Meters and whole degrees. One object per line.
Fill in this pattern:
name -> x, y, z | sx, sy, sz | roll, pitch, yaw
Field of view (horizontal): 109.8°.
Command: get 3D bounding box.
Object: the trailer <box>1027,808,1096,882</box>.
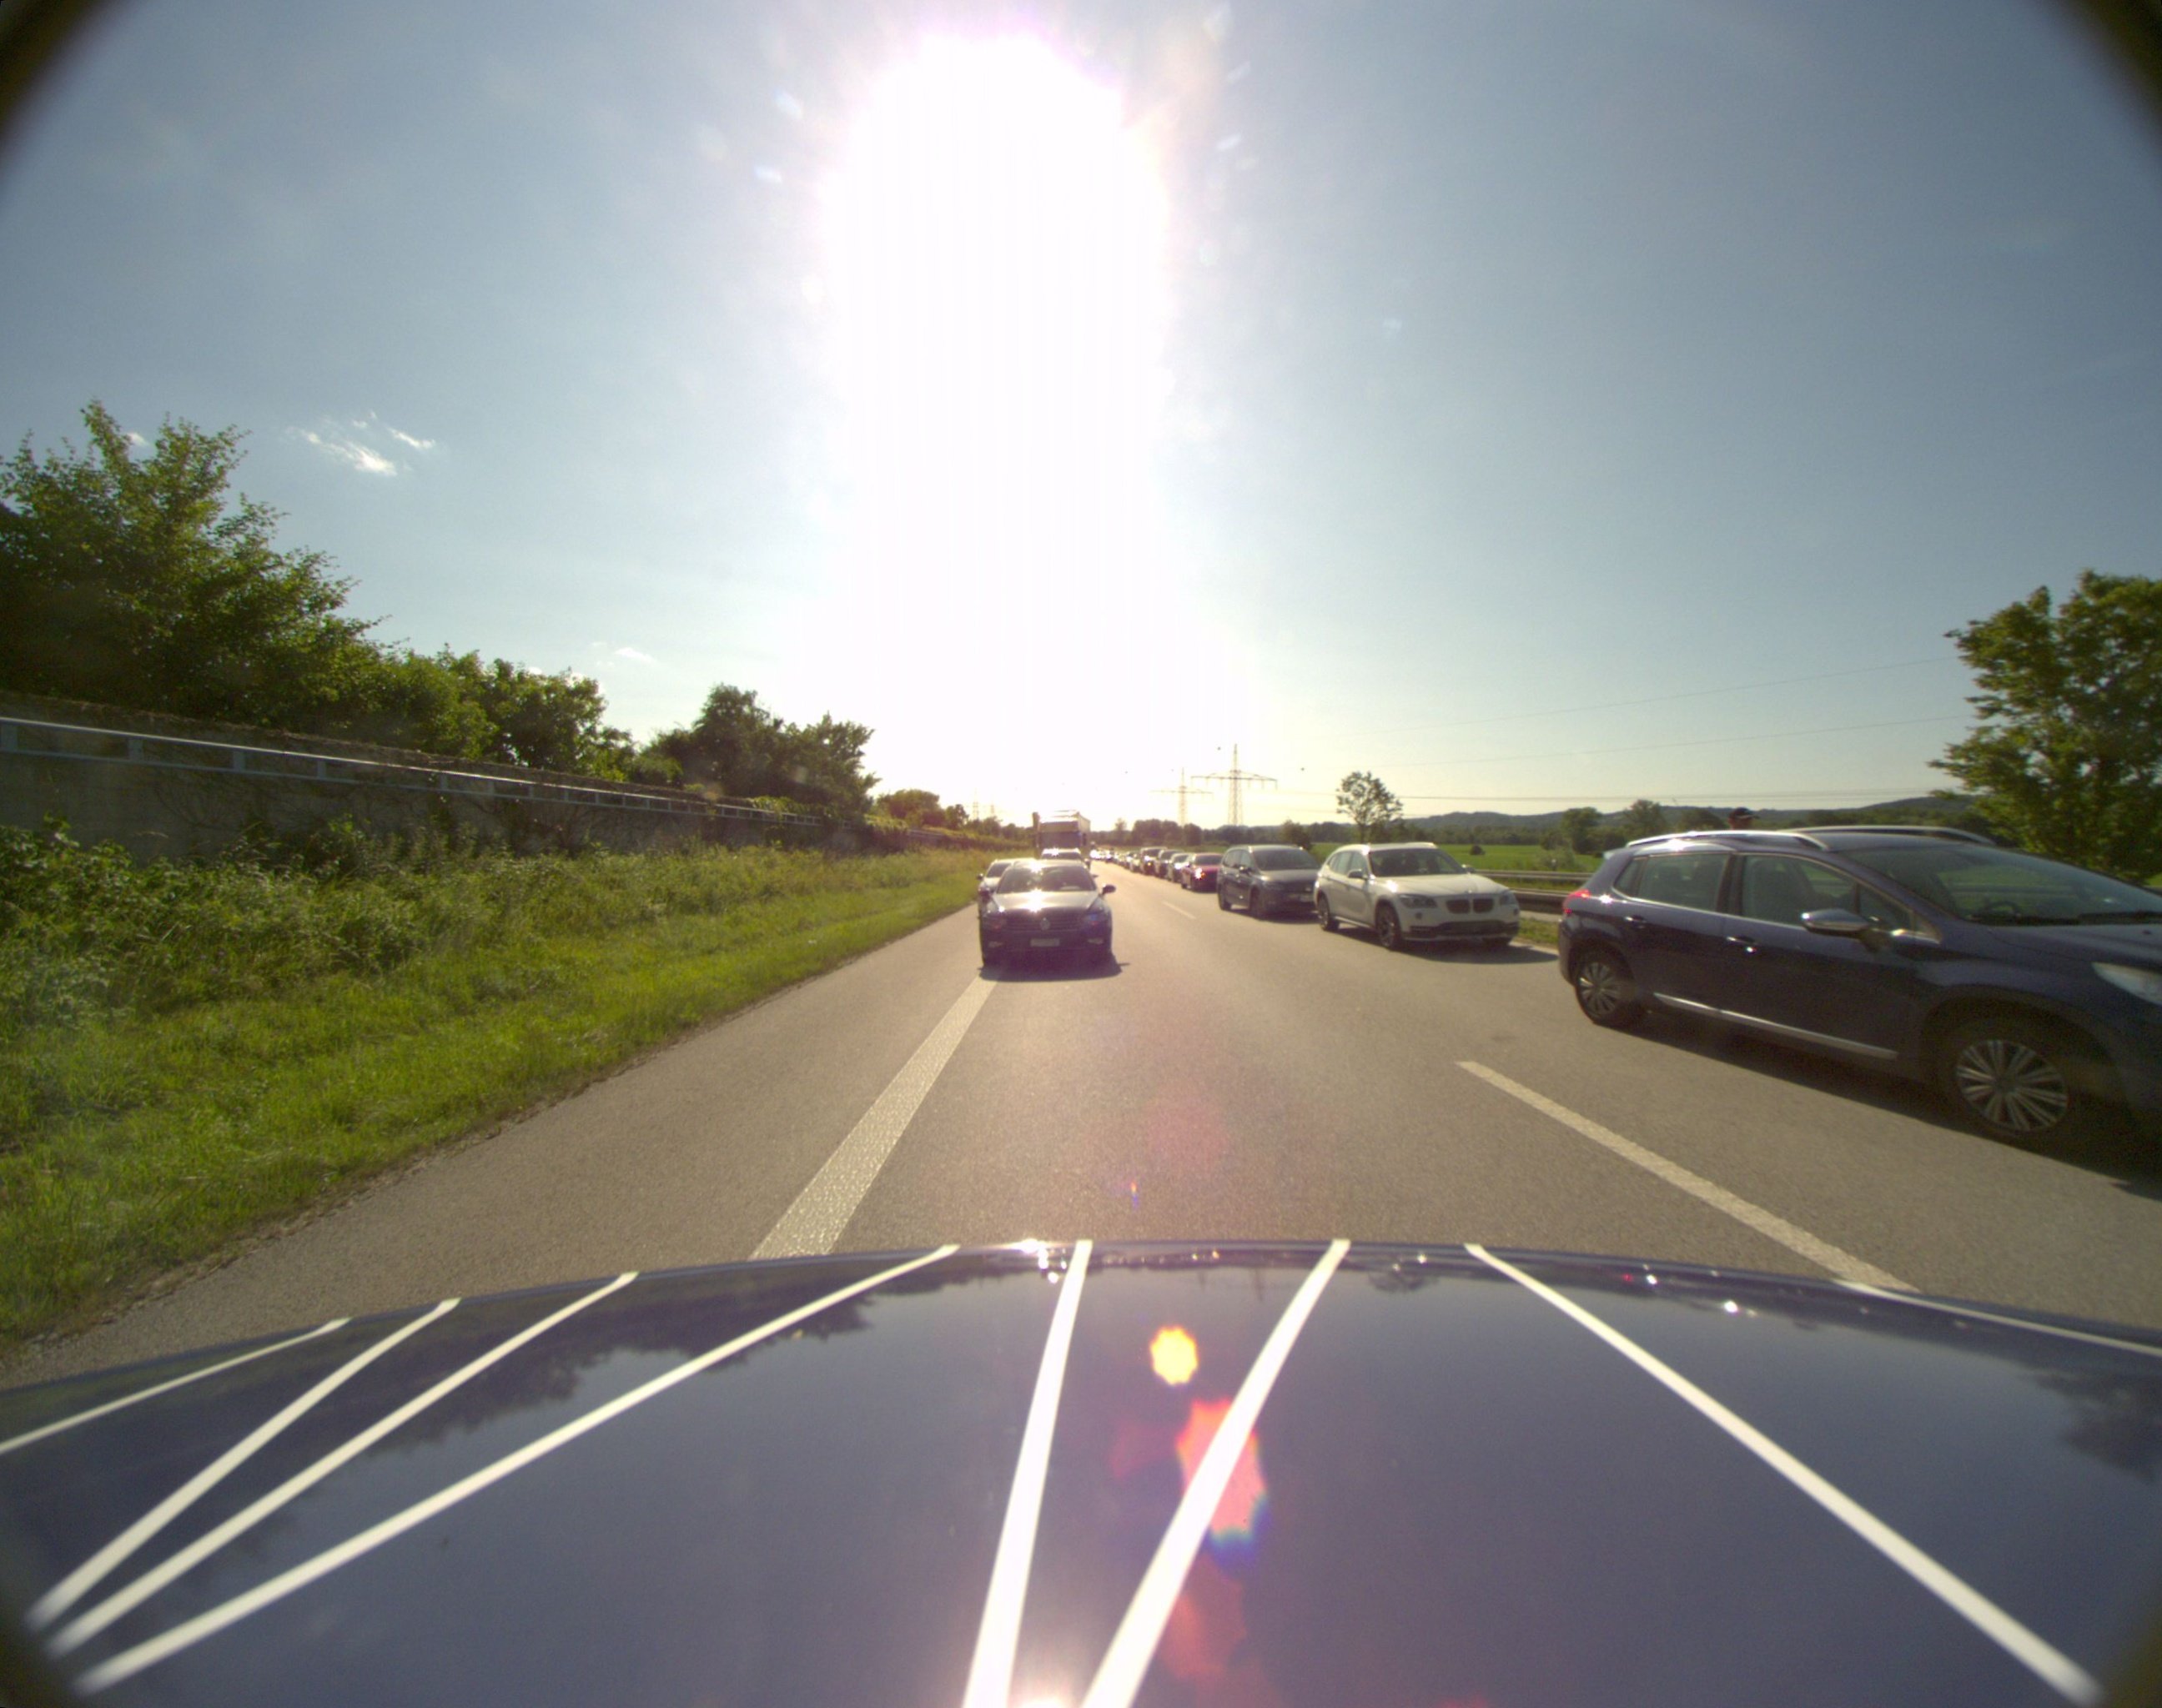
trailer -> -0.961, -0.627, 50.539 | 3.387, 4.089, 13.953 | -2, 1, 3

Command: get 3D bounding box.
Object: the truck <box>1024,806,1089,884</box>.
truck -> -1.278, -0.531, 44.438 | 3.333, 4.089, 6.969 | -2, 1, 1

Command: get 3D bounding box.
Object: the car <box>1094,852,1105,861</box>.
car -> 3.206, 0.438, 132.894 | 1.819, 1.450, 4.117 | 0, 0, 1

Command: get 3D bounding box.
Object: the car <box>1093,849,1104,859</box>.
car -> 3.296, -0.069, 142.229 | 1.813, 1.783, 3.772 | -1, 0, -1

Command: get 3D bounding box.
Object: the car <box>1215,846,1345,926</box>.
car -> 4.481, 0.651, 17.775 | 1.820, 1.607, 4.116 | -2, 0, -1

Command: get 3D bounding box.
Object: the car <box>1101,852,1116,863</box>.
car -> 3.878, 0.466, 106.885 | 1.820, 1.450, 4.117 | -2, 0, -1

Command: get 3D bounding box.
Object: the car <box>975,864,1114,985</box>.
car -> -0.481, 0.926, 11.874 | 1.717, 1.405, 4.325 | -2, 0, 0

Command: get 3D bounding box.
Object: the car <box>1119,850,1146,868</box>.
car -> 4.548, 0.452, 67.680 | 1.999, 1.522, 3.999 | -1, 0, -1

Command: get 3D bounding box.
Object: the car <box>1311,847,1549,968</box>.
car -> 5.228, 0.693, 12.079 | 1.832, 1.564, 4.163 | -1, 0, 0

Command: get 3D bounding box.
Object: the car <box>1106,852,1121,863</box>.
car -> 4.170, 0.434, 98.463 | 1.820, 1.450, 4.117 | 0, 0, 0

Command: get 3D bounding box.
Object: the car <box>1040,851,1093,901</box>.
car -> -0.507, 0.741, 27.611 | 1.717, 1.614, 4.325 | -2, 0, 0

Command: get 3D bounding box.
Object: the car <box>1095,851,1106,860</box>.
car -> 3.277, 0.286, 127.247 | 1.819, 1.450, 4.117 | -2, 0, 1

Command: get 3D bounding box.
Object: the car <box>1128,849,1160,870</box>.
car -> 4.810, 0.411, 58.390 | 1.999, 1.522, 3.999 | -1, 0, -1

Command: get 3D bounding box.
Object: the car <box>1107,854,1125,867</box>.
car -> 3.973, 0.686, 87.767 | 1.820, 1.450, 4.117 | 0, 0, -1

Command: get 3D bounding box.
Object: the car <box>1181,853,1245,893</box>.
car -> 5.046, 0.682, 29.561 | 1.819, 1.450, 4.117 | 0, 0, 1

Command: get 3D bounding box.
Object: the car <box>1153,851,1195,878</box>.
car -> 5.389, 0.574, 44.358 | 1.894, 1.447, 3.999 | -1, 0, -1

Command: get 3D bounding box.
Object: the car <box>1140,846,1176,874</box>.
car -> 5.132, 0.379, 51.222 | 1.902, 1.777, 4.199 | -1, 0, -2

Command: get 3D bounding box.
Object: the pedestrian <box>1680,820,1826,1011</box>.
pedestrian -> 6.434, 0.558, 7.320 | 0.672, 1.740, 0.814 | 0, 1, -1

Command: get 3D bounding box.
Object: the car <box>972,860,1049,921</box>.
car -> -1.847, 0.925, 21.131 | 1.717, 1.417, 4.325 | -2, 0, 0

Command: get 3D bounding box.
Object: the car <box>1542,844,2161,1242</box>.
car -> 5.016, 0.743, 4.705 | 1.692, 1.526, 3.947 | -3, 0, -4

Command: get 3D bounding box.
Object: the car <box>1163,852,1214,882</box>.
car -> 5.370, 0.637, 38.268 | 1.895, 1.390, 3.999 | -1, 0, -1
